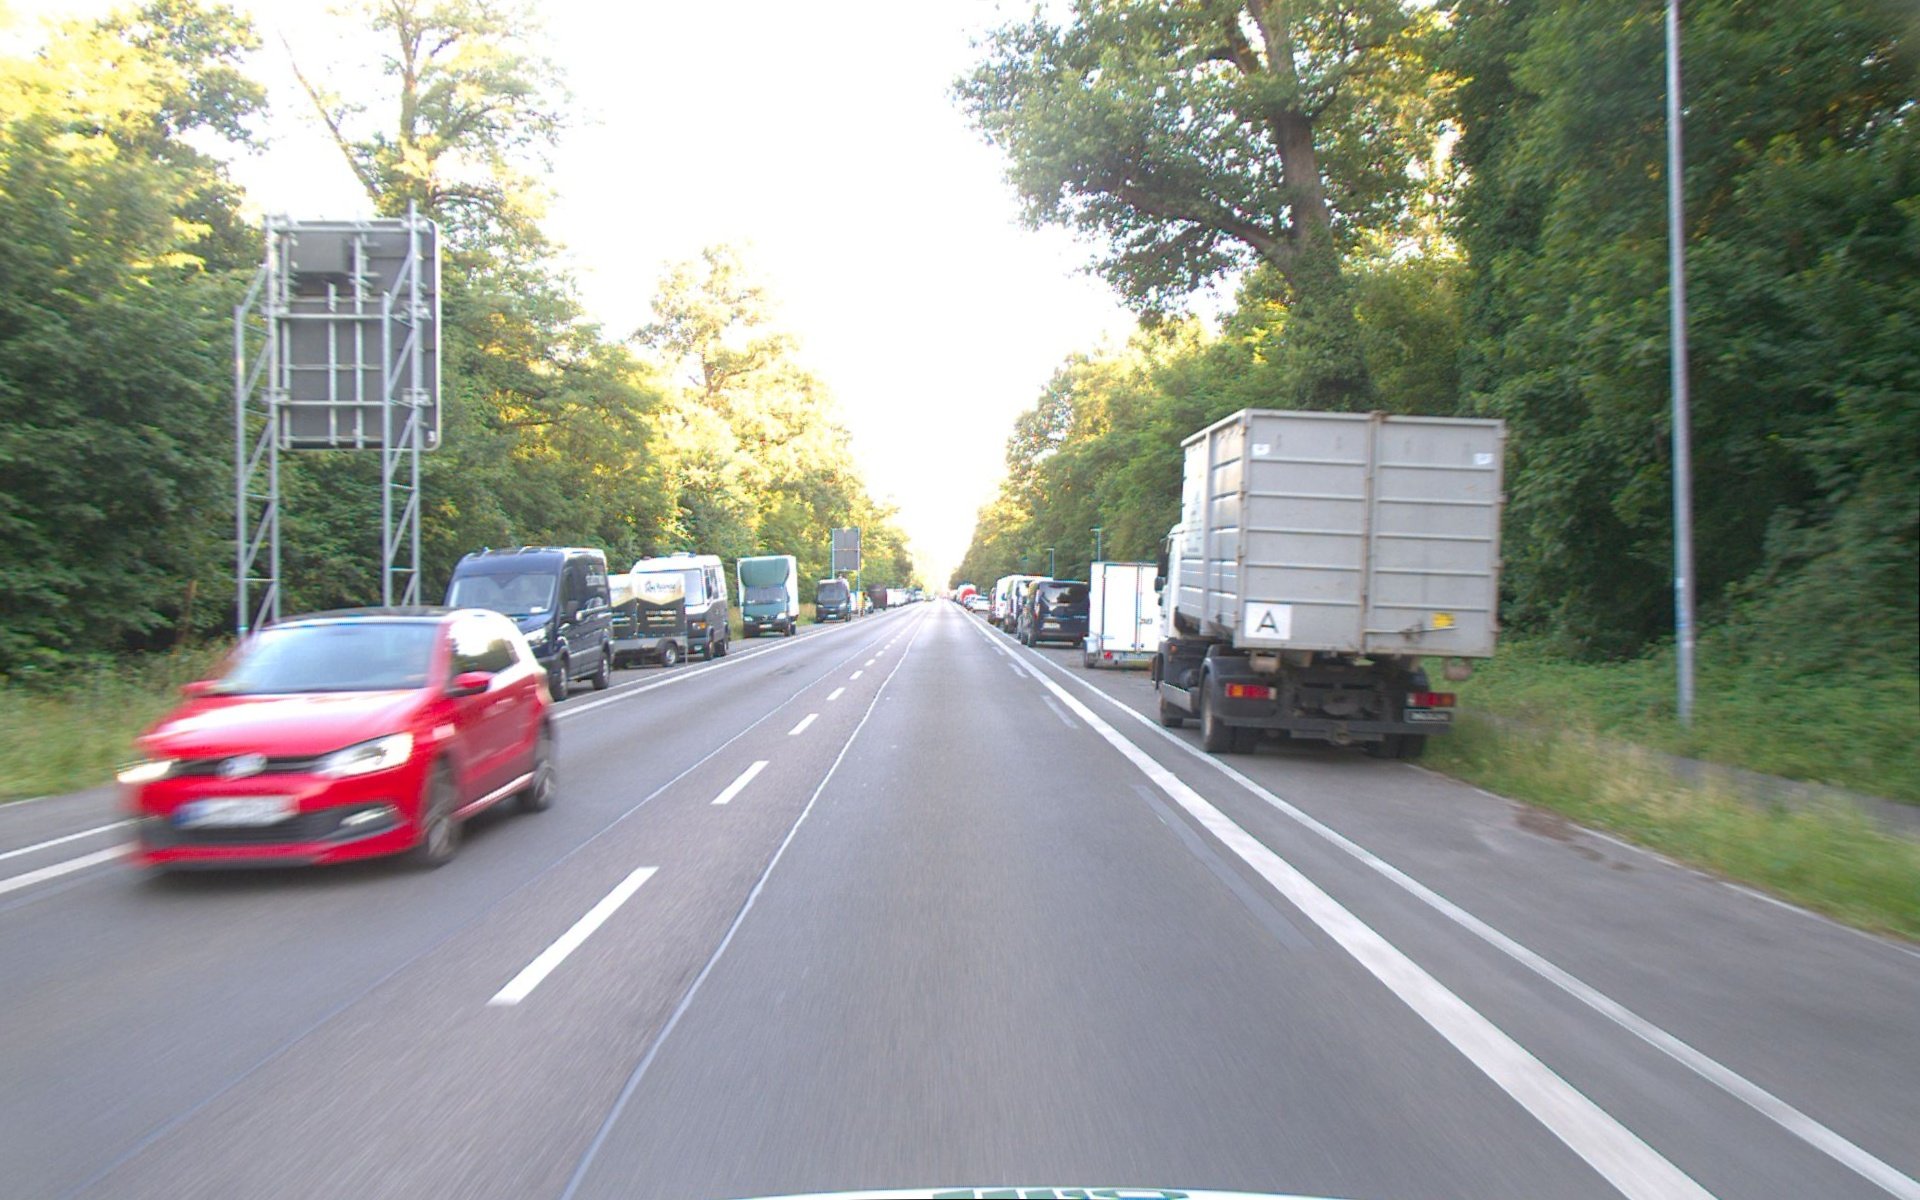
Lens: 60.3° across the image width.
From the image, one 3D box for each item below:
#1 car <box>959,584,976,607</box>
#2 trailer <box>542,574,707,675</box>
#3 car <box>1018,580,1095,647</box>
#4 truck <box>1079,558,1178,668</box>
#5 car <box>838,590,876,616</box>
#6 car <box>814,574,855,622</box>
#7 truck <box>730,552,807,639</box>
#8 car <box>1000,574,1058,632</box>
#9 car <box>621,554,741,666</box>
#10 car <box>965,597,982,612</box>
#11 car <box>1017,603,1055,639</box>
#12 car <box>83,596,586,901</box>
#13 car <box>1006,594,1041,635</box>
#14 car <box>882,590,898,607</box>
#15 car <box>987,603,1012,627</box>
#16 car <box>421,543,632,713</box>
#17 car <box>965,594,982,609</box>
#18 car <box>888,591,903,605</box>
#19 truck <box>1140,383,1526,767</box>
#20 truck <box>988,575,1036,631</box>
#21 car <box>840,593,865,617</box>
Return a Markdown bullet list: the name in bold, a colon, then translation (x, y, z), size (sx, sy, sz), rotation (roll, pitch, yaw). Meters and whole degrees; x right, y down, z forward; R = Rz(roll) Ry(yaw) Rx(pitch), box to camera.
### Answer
- **car**: translation (0.993, -0.602, 230.847), size (2.267, 3.147, 5.638), rotation (1, 0, -1)
- **trailer**: translation (-7.704, 0.524, 38.362), size (1.922, 2.192, 3.930), rotation (-2, 0, 20)
- **car**: translation (2.970, 0.401, 51.692), size (1.954, 1.989, 4.297), rotation (0, 0, -3)
- **truck**: translation (3.721, 0.275, 37.204), size (1.846, 2.323, 4.300), rotation (0, 0, 1)
- **car**: translation (-8.333, 0.211, 133.798), size (1.664, 2.049, 4.002), rotation (1, 0, 18)
- **car**: translation (-7.860, -0.127, 104.022), size (2.142, 2.837, 5.333), rotation (-2, 0, -1)
- **truck**: translation (-7.966, -0.195, 69.462), size (2.453, 3.387, 6.840), rotation (-2, 0, -1)
- **car**: translation (2.937, 0.128, 70.956), size (2.099, 2.354, 4.297), rotation (0, 0, -3)
- **car**: translation (-7.305, 0.231, 43.897), size (2.203, 2.694, 5.720), rotation (-2, 0, -1)
- **car**: translation (1.168, 0.429, 148.901), size (1.398, 1.243, 3.411), rotation (-3, 0, -1)
- **car**: translation (2.765, 0.747, 60.362), size (1.124, 1.273, 2.752), rotation (0, 0, -3)
- **car**: translation (-3.668, 0.754, 10.512), size (1.648, 1.512, 4.037), rotation (-2, 0, 0)
- **car**: translation (2.487, 0.554, 64.906), size (1.124, 1.573, 2.752), rotation (0, 0, -3)
- **car**: translation (-8.933, -0.208, 211.660), size (1.954, 2.049, 3.997), rotation (-1, -1, -3)
- **car**: translation (2.128, 0.819, 89.627), size (1.124, 1.273, 2.752), rotation (0, 0, -3)
- **car**: translation (-7.016, 0.405, 27.475), size (1.953, 2.405, 5.764), rotation (-3, 0, -1)
- **car**: translation (1.306, 0.141, 166.643), size (1.612, 1.512, 3.999), rotation (1, 0, -1)
- **car**: translation (-9.706, -0.330, 249.806), size (1.953, 2.049, 4.000), rotation (-2, 0, 0)
- **truck**: translation (3.636, -0.210, 17.962), size (2.536, 3.312, 7.220), rotation (0, 0, 0)
- **truck**: translation (2.618, 0.148, 83.842), size (2.099, 2.706, 4.297), rotation (0, 0, -3)
- **car**: translation (-8.149, 0.385, 125.387), size (1.736, 1.701, 3.998), rotation (1, 0, -3)
